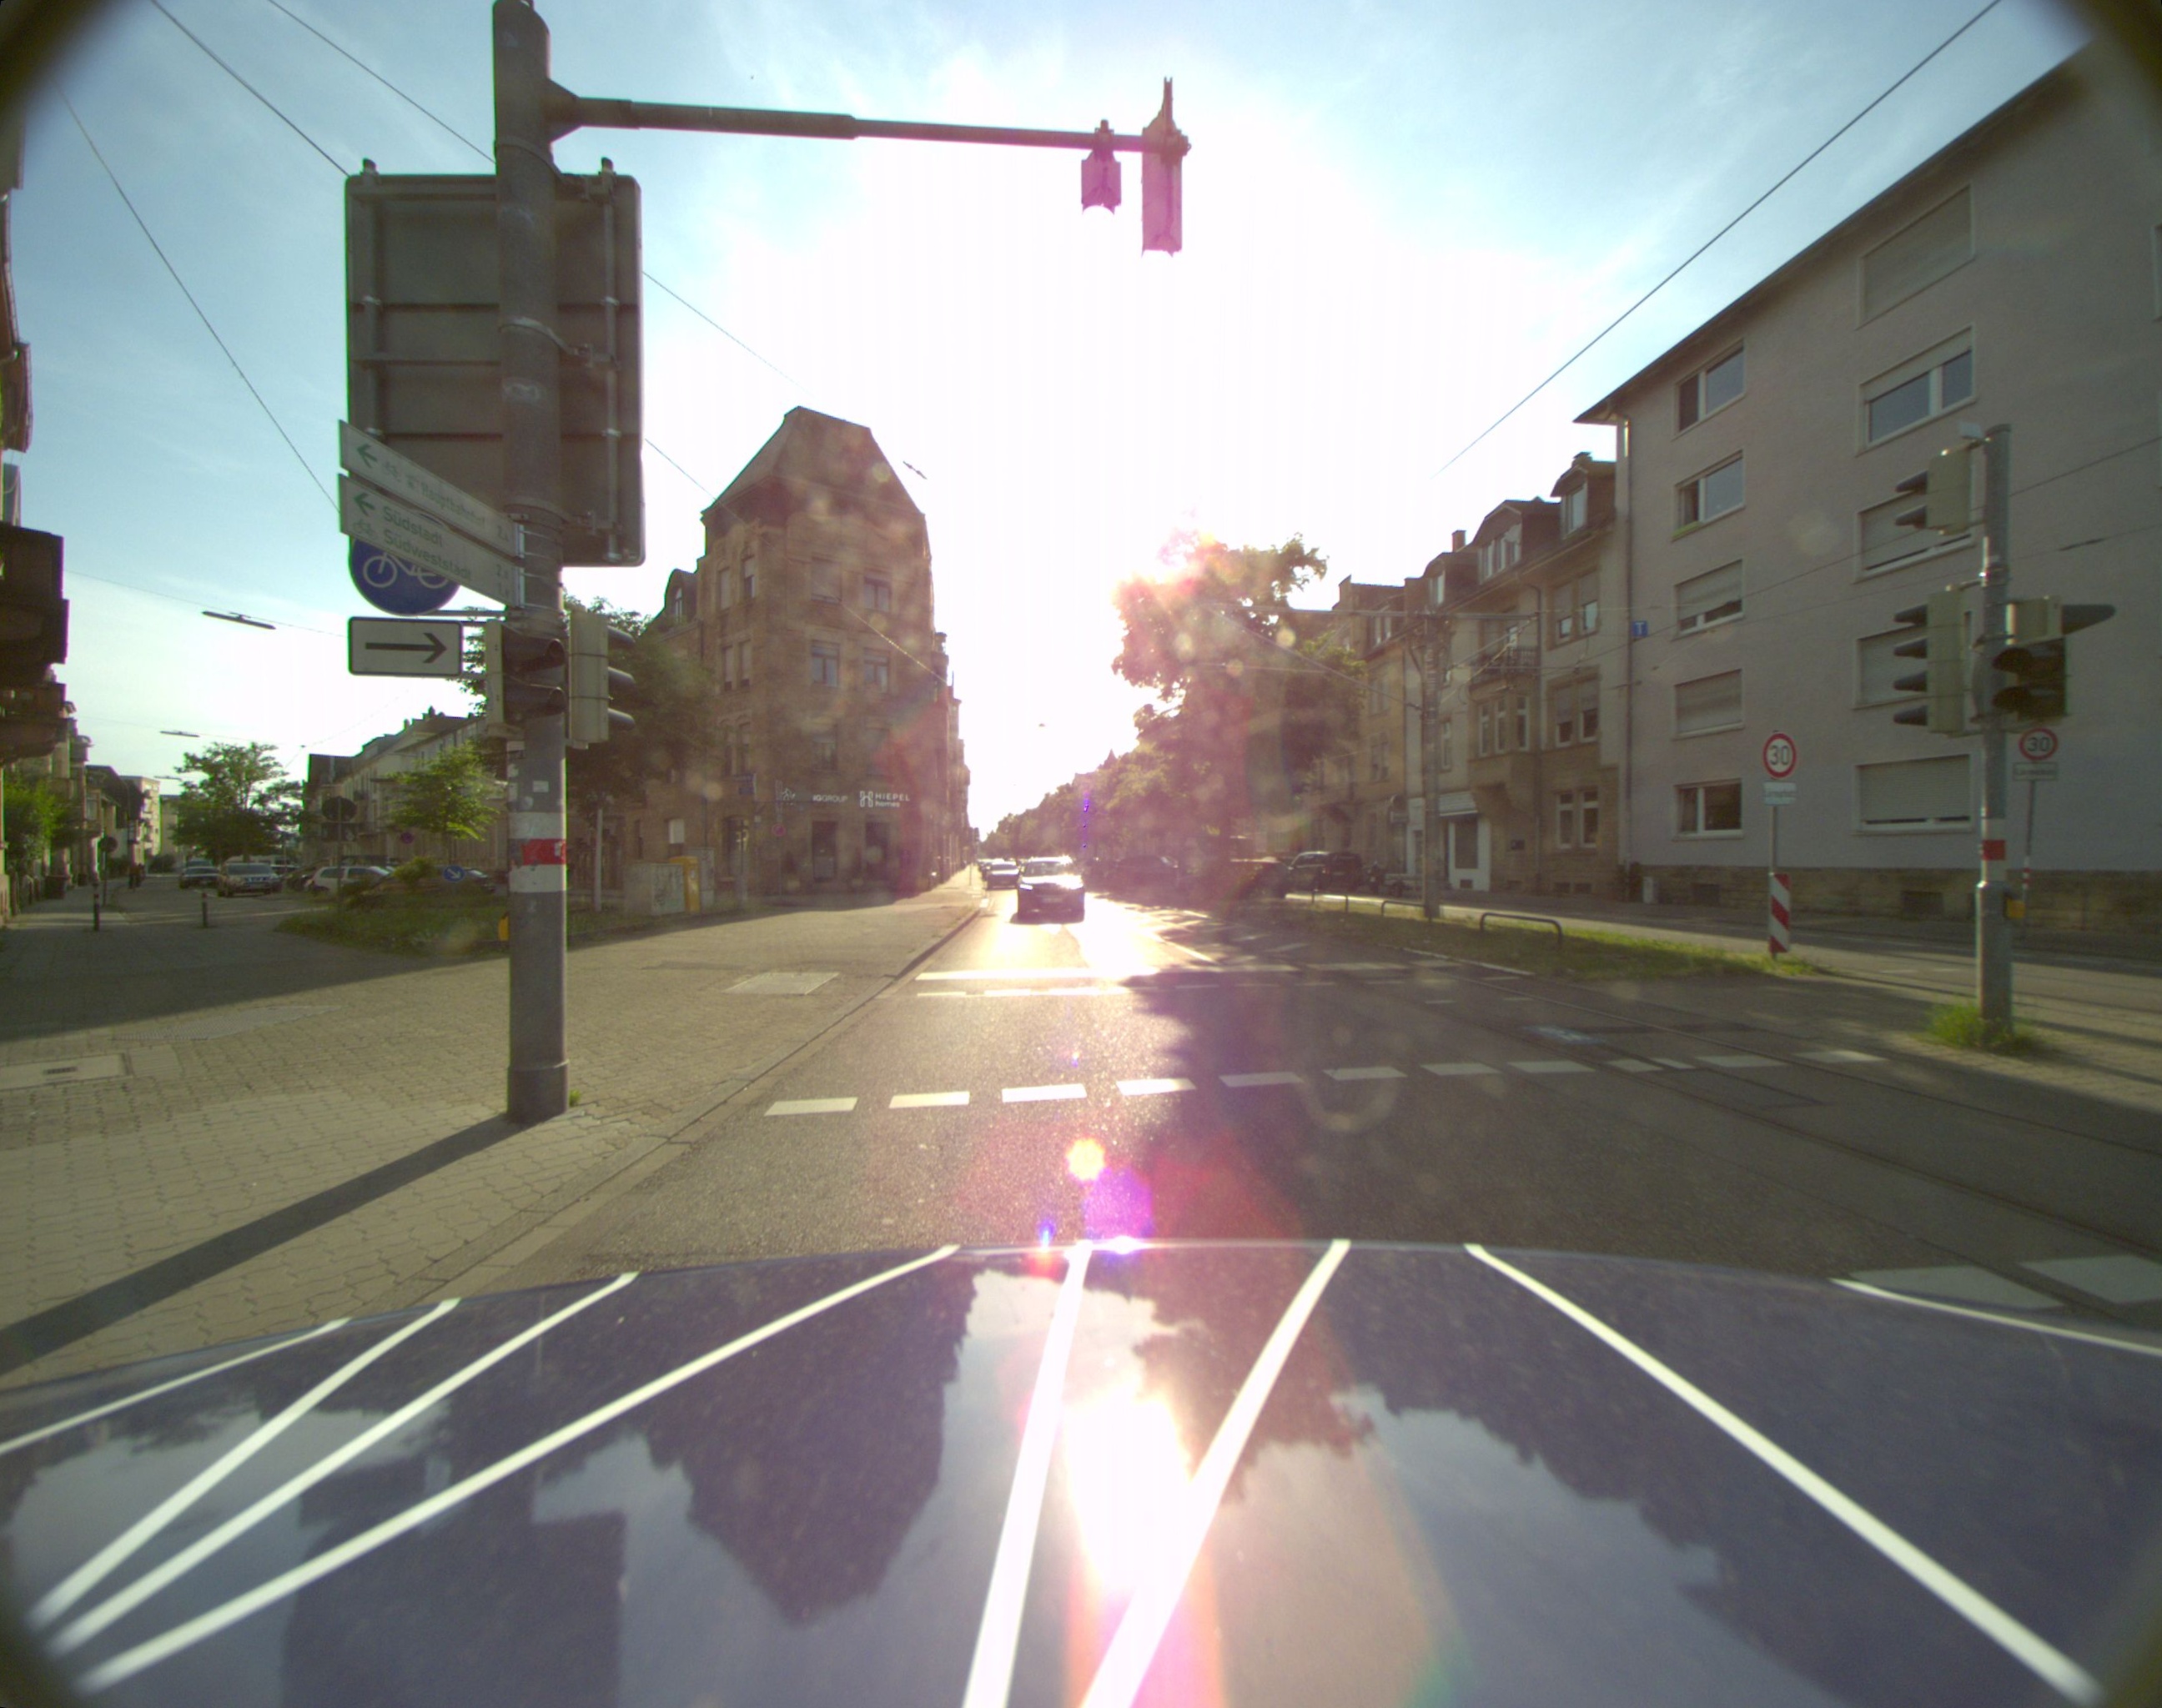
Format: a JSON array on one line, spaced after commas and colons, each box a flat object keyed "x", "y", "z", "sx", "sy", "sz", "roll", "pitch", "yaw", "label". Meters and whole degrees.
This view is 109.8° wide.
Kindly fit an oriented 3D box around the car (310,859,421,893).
[{"x": -38.593, "y": 1.161, "z": 41.140, "sx": 4.006, "sy": 1.641, "sz": 1.995, "roll": -2, "pitch": 0, "yaw": -32, "label": "car"}]

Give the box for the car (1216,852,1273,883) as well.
[{"x": 10.167, "y": 0.811, "z": 47.614, "sx": 2.171, "sy": 1.740, "sz": 4.608, "roll": -2, "pitch": 0, "yaw": -5, "label": "car"}]

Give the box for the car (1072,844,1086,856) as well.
[{"x": -0.334, "y": -0.605, "z": 131.949, "sx": 1.999, "sy": 2.002, "sz": 3.998, "roll": -2, "pitch": 0, "yaw": -4, "label": "car"}]

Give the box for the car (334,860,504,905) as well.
[{"x": -25.185, "y": 1.031, "z": 29.112, "sx": 4.456, "sy": 1.505, "sz": 1.997, "roll": -2, "pitch": 0, "yaw": -16, "label": "car"}]

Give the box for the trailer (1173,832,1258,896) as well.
[{"x": 5.198, "y": 0.396, "z": 29.259, "sx": 2.859, "sy": 2.378, "sz": 1.726, "roll": -1, "pitch": 0, "yaw": 24, "label": "trailer"}]

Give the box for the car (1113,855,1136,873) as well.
[{"x": 5.175, "y": 1.168, "z": 90.504, "sx": 2.000, "sy": 2.002, "sz": 3.997, "roll": -2, "pitch": 0, "yaw": -7, "label": "car"}]

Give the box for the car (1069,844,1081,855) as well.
[{"x": -1.158, "y": -0.753, "z": 143.435, "sx": 1.999, "sy": 2.002, "sz": 3.998, "roll": -2, "pitch": 0, "yaw": -4, "label": "car"}]

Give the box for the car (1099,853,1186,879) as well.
[{"x": 3.462, "y": 0.710, "z": 43.255, "sx": 4.598, "sy": 1.373, "sz": 1.704, "roll": -1, "pitch": 0, "yaw": 27, "label": "car"}]

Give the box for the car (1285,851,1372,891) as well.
[{"x": 11.533, "y": 0.749, "z": 35.834, "sx": 2.171, "sy": 1.740, "sz": 4.715, "roll": -2, "pitch": 0, "yaw": -5, "label": "car"}]

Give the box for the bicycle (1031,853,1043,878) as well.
[{"x": -2.329, "y": 0.590, "z": 40.289, "sx": 0.575, "sy": 1.290, "sz": 0.688, "roll": -2, "pitch": 1, "yaw": -7, "label": "bicycle"}]

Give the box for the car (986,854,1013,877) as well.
[{"x": -6.625, "y": 0.927, "z": 61.251, "sx": 2.000, "sy": 1.772, "sz": 3.997, "roll": -1, "pitch": 0, "yaw": -8, "label": "car"}]

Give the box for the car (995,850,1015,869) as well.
[{"x": -8.172, "y": 0.546, "z": 81.286, "sx": 2.000, "sy": 2.002, "sz": 3.997, "roll": -1, "pitch": 0, "yaw": -8, "label": "car"}]

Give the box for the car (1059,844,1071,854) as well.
[{"x": -3.255, "y": -1.014, "z": 156.020, "sx": 2.000, "sy": 2.002, "sz": 3.997, "roll": -2, "pitch": 0, "yaw": -8, "label": "car"}]

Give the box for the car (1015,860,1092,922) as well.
[{"x": -0.834, "y": 0.923, "z": 20.535, "sx": 1.841, "sy": 1.472, "sz": 3.998, "roll": -1, "pitch": 0, "yaw": -6, "label": "car"}]

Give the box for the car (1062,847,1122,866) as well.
[{"x": 0.898, "y": 0.235, "z": 60.838, "sx": 4.260, "sy": 1.414, "sz": 2.176, "roll": -1, "pitch": 0, "yaw": 34, "label": "car"}]

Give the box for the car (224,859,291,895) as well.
[{"x": -40.729, "y": 1.139, "z": 37.551, "sx": 3.989, "sy": 1.641, "sz": 2.004, "roll": -1, "pitch": 0, "yaw": 40, "label": "car"}]

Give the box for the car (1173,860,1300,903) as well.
[{"x": 5.317, "y": 0.887, "z": 25.977, "sx": 3.943, "sy": 1.352, "sz": 1.676, "roll": 0, "pitch": 0, "yaw": 27, "label": "car"}]

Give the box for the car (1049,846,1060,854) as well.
[{"x": -6.216, "y": -0.923, "z": 177.635, "sx": 2.000, "sy": 2.002, "sz": 3.997, "roll": -2, "pitch": 0, "yaw": -8, "label": "car"}]

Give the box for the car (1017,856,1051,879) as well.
[{"x": -3.369, "y": 0.921, "z": 54.169, "sx": 2.000, "sy": 1.565, "sz": 3.997, "roll": -2, "pitch": 0, "yaw": -9, "label": "car"}]

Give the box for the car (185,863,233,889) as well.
[{"x": -59.391, "y": 1.496, "z": 51.728, "sx": 3.989, "sy": 1.641, "sz": 2.004, "roll": -1, "pitch": 0, "yaw": 40, "label": "car"}]

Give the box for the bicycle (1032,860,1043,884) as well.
[{"x": -2.318, "y": 0.944, "z": 40.287, "sx": 0.484, "sy": 1.183, "sz": 1.338, "roll": -2, "pitch": 0, "yaw": -8, "label": "bicycle"}]

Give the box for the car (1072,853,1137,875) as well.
[{"x": 1.642, "y": 0.712, "z": 53.435, "sx": 4.260, "sy": 1.414, "sz": 1.685, "roll": -1, "pitch": 0, "yaw": 34, "label": "car"}]

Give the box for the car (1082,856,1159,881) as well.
[{"x": 2.440, "y": 0.901, "z": 47.128, "sx": 4.294, "sy": 1.414, "sz": 1.963, "roll": -1, "pitch": 0, "yaw": 34, "label": "car"}]

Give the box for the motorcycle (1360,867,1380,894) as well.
[{"x": 12.152, "y": 1.099, "z": 31.948, "sx": 0.636, "sy": 1.074, "sz": 1.736, "roll": -1, "pitch": 0, "yaw": 17, "label": "motorcycle"}]

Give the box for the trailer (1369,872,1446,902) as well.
[{"x": 12.687, "y": 1.262, "z": 29.687, "sx": 1.445, "sy": 0.891, "sz": 2.877, "roll": -7, "pitch": 1, "yaw": -7, "label": "trailer"}]

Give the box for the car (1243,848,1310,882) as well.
[{"x": 10.845, "y": 0.570, "z": 42.455, "sx": 2.171, "sy": 1.740, "sz": 4.608, "roll": -2, "pitch": 0, "yaw": -5, "label": "car"}]

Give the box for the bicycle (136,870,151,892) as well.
[{"x": -56.632, "y": 1.623, "z": 45.891, "sx": 1.565, "sy": 1.250, "sz": 0.573, "roll": 0, "pitch": 1, "yaw": 39, "label": "bicycle"}]

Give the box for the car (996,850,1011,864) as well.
[{"x": -11.165, "y": 0.374, "z": 109.529, "sx": 2.000, "sy": 2.002, "sz": 3.997, "roll": -1, "pitch": 0, "yaw": -8, "label": "car"}]

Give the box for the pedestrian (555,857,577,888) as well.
[{"x": -28.009, "y": 1.015, "z": 41.295, "sx": 0.781, "sy": 1.665, "sz": 0.765, "roll": -1, "pitch": 0, "yaw": 41, "label": "pedestrian"}]

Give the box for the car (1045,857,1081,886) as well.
[{"x": -1.119, "y": 0.997, "z": 45.471, "sx": 1.999, "sy": 1.565, "sz": 3.999, "roll": -2, "pitch": 0, "yaw": -3, "label": "car"}]

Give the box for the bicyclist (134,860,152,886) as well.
[{"x": -56.641, "y": 1.163, "z": 45.900, "sx": 0.894, "sy": 1.532, "sz": 0.656, "roll": 0, "pitch": 1, "yaw": 39, "label": "bicyclist"}]

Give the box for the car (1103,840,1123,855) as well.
[{"x": 4.275, "y": -0.862, "z": 102.036, "sx": 2.000, "sy": 2.002, "sz": 3.997, "roll": -2, "pitch": 0, "yaw": -7, "label": "car"}]

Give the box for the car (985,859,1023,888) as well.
[{"x": -4.337, "y": 1.040, "z": 42.451, "sx": 1.841, "sy": 1.494, "sz": 4.263, "roll": -2, "pitch": 0, "yaw": -9, "label": "car"}]

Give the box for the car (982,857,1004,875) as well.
[{"x": -7.709, "y": 1.049, "z": 66.792, "sx": 1.841, "sy": 1.472, "sz": 3.998, "roll": -2, "pitch": 0, "yaw": -6, "label": "car"}]

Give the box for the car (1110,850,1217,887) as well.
[{"x": 3.998, "y": 0.665, "z": 37.158, "sx": 4.704, "sy": 1.680, "sz": 2.176, "roll": 0, "pitch": 0, "yaw": 34, "label": "car"}]
